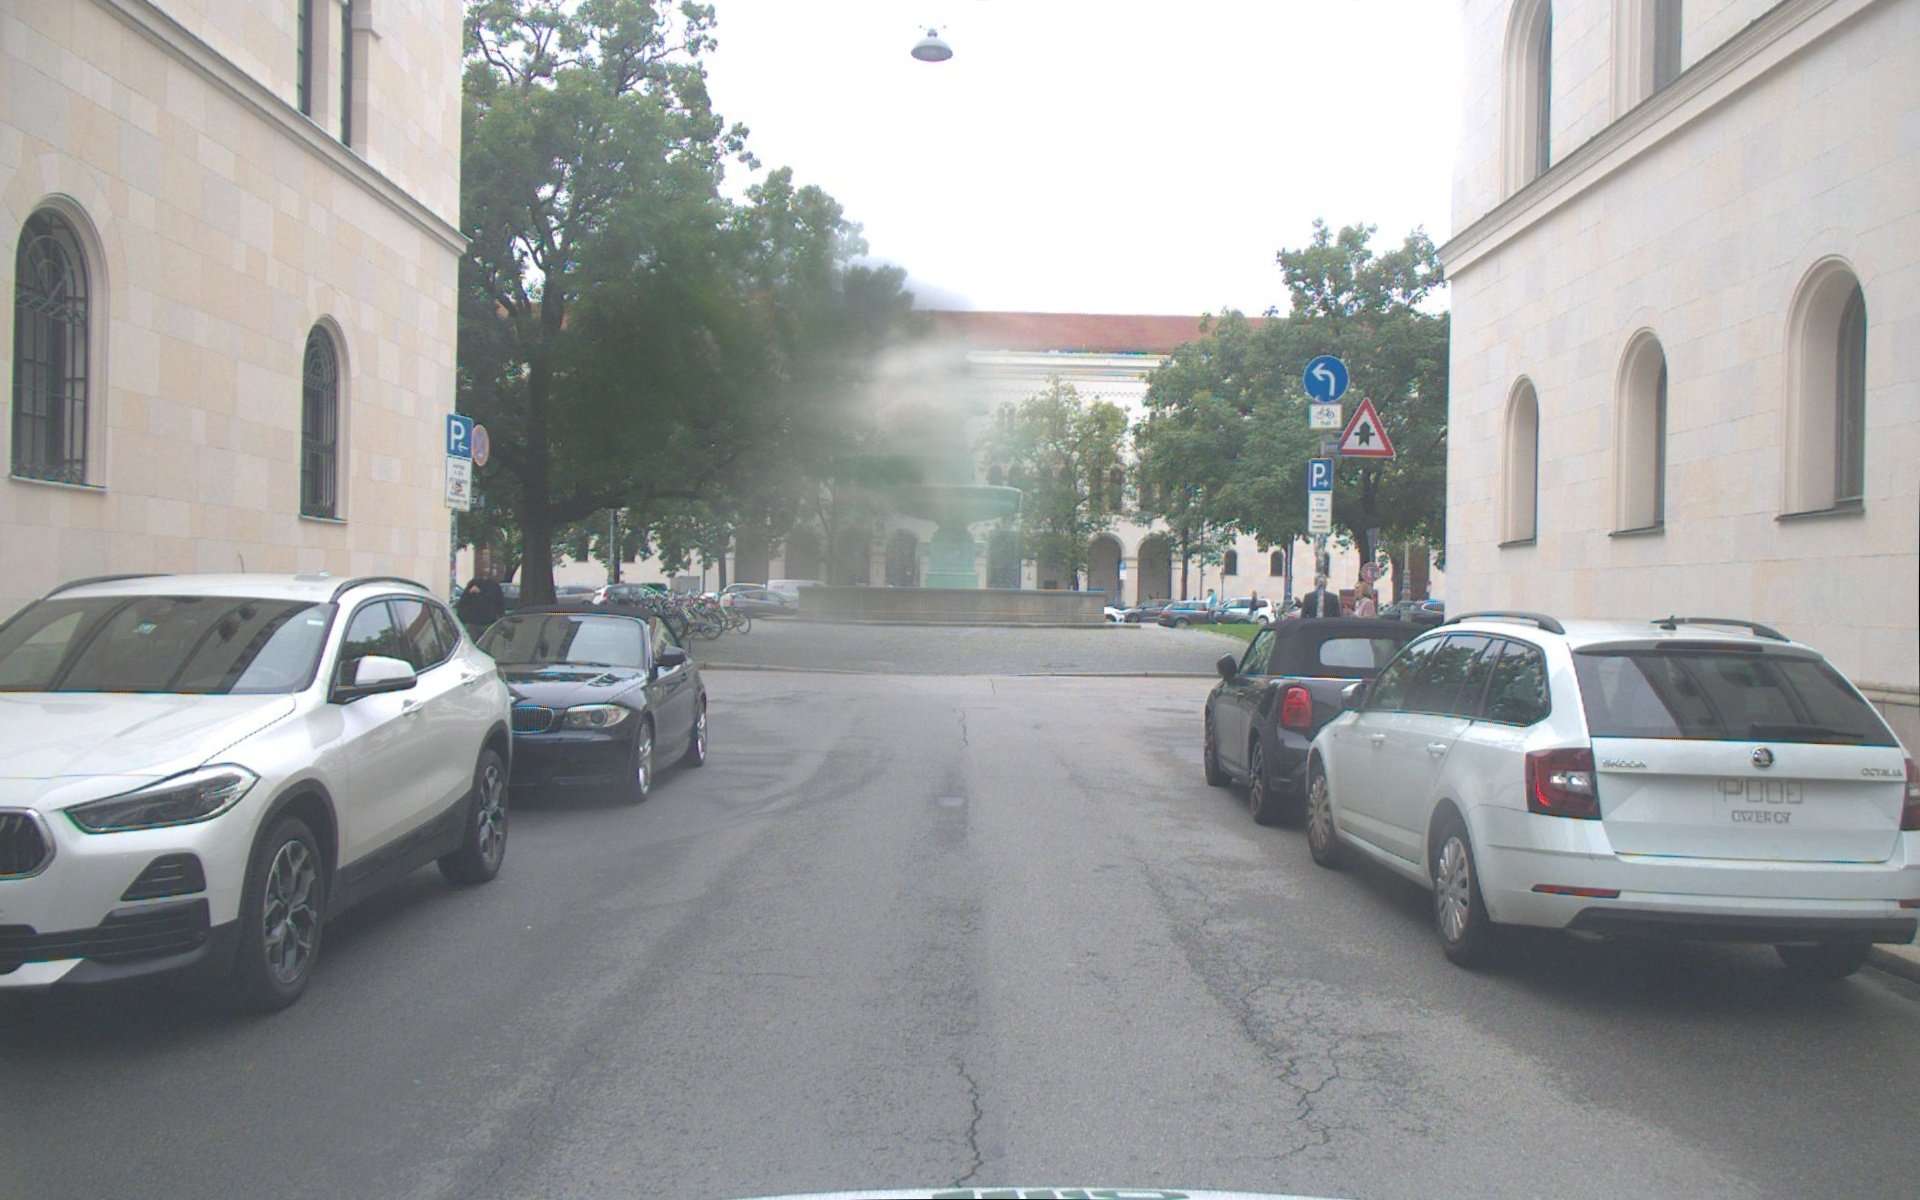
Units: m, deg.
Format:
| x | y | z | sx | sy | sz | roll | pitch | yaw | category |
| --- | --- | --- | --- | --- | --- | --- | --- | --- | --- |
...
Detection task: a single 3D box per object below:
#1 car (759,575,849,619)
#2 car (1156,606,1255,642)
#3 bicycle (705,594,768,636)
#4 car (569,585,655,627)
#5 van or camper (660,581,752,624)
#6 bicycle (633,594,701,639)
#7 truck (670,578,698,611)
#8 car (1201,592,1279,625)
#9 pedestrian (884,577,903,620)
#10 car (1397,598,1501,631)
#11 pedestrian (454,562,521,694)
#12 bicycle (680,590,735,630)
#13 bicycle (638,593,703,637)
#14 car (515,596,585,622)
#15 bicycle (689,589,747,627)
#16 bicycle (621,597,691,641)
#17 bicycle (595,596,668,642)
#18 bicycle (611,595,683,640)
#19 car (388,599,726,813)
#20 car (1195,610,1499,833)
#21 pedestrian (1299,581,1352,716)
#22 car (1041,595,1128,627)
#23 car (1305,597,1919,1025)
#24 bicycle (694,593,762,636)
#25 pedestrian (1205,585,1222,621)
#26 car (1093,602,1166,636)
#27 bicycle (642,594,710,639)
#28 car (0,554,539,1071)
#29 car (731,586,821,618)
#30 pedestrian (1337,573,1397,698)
| x | y | z | sx | sy | sz | roll | pitch | yaw | category |
| --- | --- | --- | --- | --- | --- | --- | --- | --- | --- |
| -7.815 | -0.153 | 83.105 | 4.236 | 2.049 | 1.825 | 2 | 1 | 3 | car |
| 11.229 | 1.073 | 75.737 | 4.267 | 1.551 | 1.804 | 1 | 1 | 1 | car |
| -6.219 | 0.408 | 46.011 | 1.584 | 1.118 | 0.617 | 2 | 0 | 11 | bicycle |
| -16.933 | 0.265 | 80.569 | 3.810 | 1.901 | 1.771 | 2 | 1 | -2 | car |
| -13.224 | 0.149 | 86.387 | 4.488 | 2.049 | 1.999 | -2 | -1 | -3 | van or camper |
| -7.588 | 0.420 | 42.850 | 1.584 | 1.118 | 0.699 | 2 | 0 | 11 | bicycle |
| -21.729 | -0.452 | 130.064 | 1.958 | 2.532 | 3.990 | 1 | 1 | -11 | truck |
| 15.901 | 0.486 | 94.028 | 4.016 | 1.771 | 1.745 | 1 | 1 | -4 | car |
| -2.672 | -0.065 | 66.259 | 0.735 | 1.668 | 0.710 | 1 | 0 | -1 | pedestrian |
| 22.400 | 0.648 | 75.863 | 4.267 | 1.443 | 1.804 | 1 | 1 | 1 | car |
| -6.483 | 0.371 | 22.727 | 0.739 | 1.780 | 0.689 | 0 | 0 | -2 | pedestrian |
| -7.184 | 0.280 | 47.125 | 1.371 | 1.118 | 0.657 | 2 | 0 | 11 | bicycle |
| -7.822 | 0.407 | 44.706 | 1.584 | 1.118 | 0.699 | 2 | 0 | 11 | bicycle |
| -23.192 | 0.494 | 93.653 | 3.597 | 1.400 | 1.602 | 1 | 1 | -2 | car |
| -7.002 | 0.231 | 47.914 | 1.503 | 1.037 | 0.699 | 2 | 0 | 11 | bicycle |
| -7.715 | 0.480 | 42.058 | 1.584 | 1.054 | 0.699 | 2 | 0 | 11 | bicycle |
| -8.042 | 0.464 | 40.484 | 1.584 | 1.054 | 0.699 | 2 | 0 | 11 | bicycle |
| -7.812 | 0.431 | 41.322 | 1.584 | 1.054 | 0.699 | 2 | 0 | 11 | bicycle |
| -3.007 | 0.725 | 13.215 | 1.664 | 1.417 | 4.211 | -1 | 0 | 0 | car |
| 2.866 | 0.823 | 12.985 | 1.508 | 1.451 | 3.772 | 1 | 0 | 0 | car |
| 5.050 | 0.657 | 22.883 | 0.628 | 1.839 | 0.489 | 1 | 0 | 5 | pedestrian |
| 5.685 | 0.491 | 75.779 | 3.904 | 1.427 | 1.825 | 0 | 0 | 2 | car |
| 3.002 | 0.755 | 8.116 | 1.752 | 1.502 | 4.313 | 0 | 1 | 0 | car |
| -6.356 | 0.384 | 45.334 | 1.673 | 1.118 | 0.699 | 2 | 0 | 11 | bicycle |
| 10.544 | 0.129 | 68.854 | 0.570 | 1.491 | 0.548 | 1 | 0 | 23 | pedestrian |
| 9.606 | 1.088 | 93.862 | 3.906 | 1.780 | 1.808 | 2 | 1 | -1 | car |
| -7.486 | 0.428 | 43.593 | 1.584 | 1.118 | 0.699 | 2 | 0 | 11 | bicycle |
| -3.186 | 0.660 | 7.110 | 1.742 | 1.561 | 4.210 | -1 | 0 | -1 | car |
| -8.370 | 0.085 | 75.629 | 3.906 | 1.400 | 1.999 | 1 | 1 | -2 | car |
| 5.738 | 0.494 | 23.328 | 0.608 | 1.711 | 0.545 | 2 | 0 | -6 | pedestrian |
